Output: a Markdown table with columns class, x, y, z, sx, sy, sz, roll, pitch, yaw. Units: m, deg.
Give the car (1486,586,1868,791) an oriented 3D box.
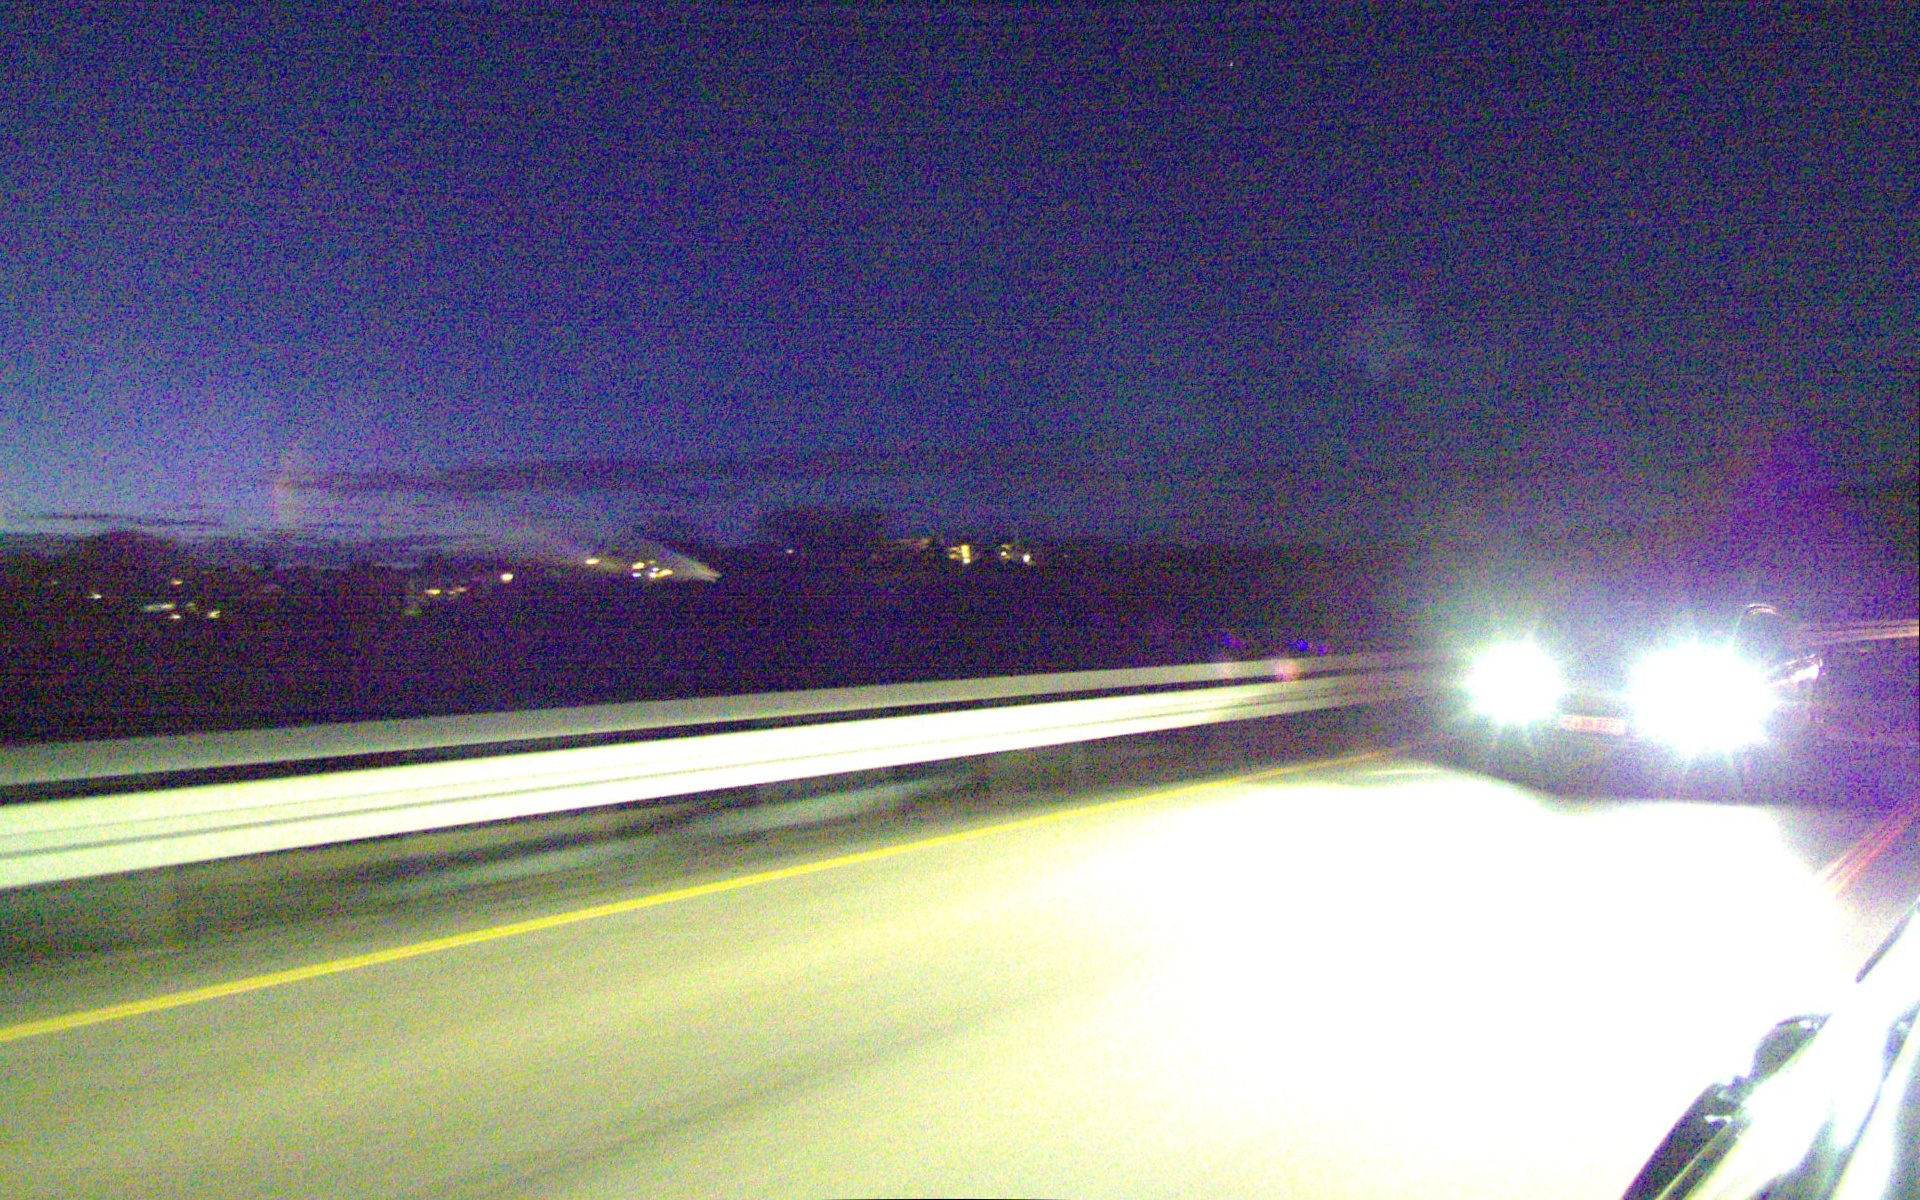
| class | x | y | z | sx | sy | sz | roll | pitch | yaw |
| --- | --- | --- | --- | --- | --- | --- | --- | --- | --- |
| car | 7.013 | 0.617 | 9.684 | 4.788 | 1.444 | 1.812 | -1 | 2 | -40 |
